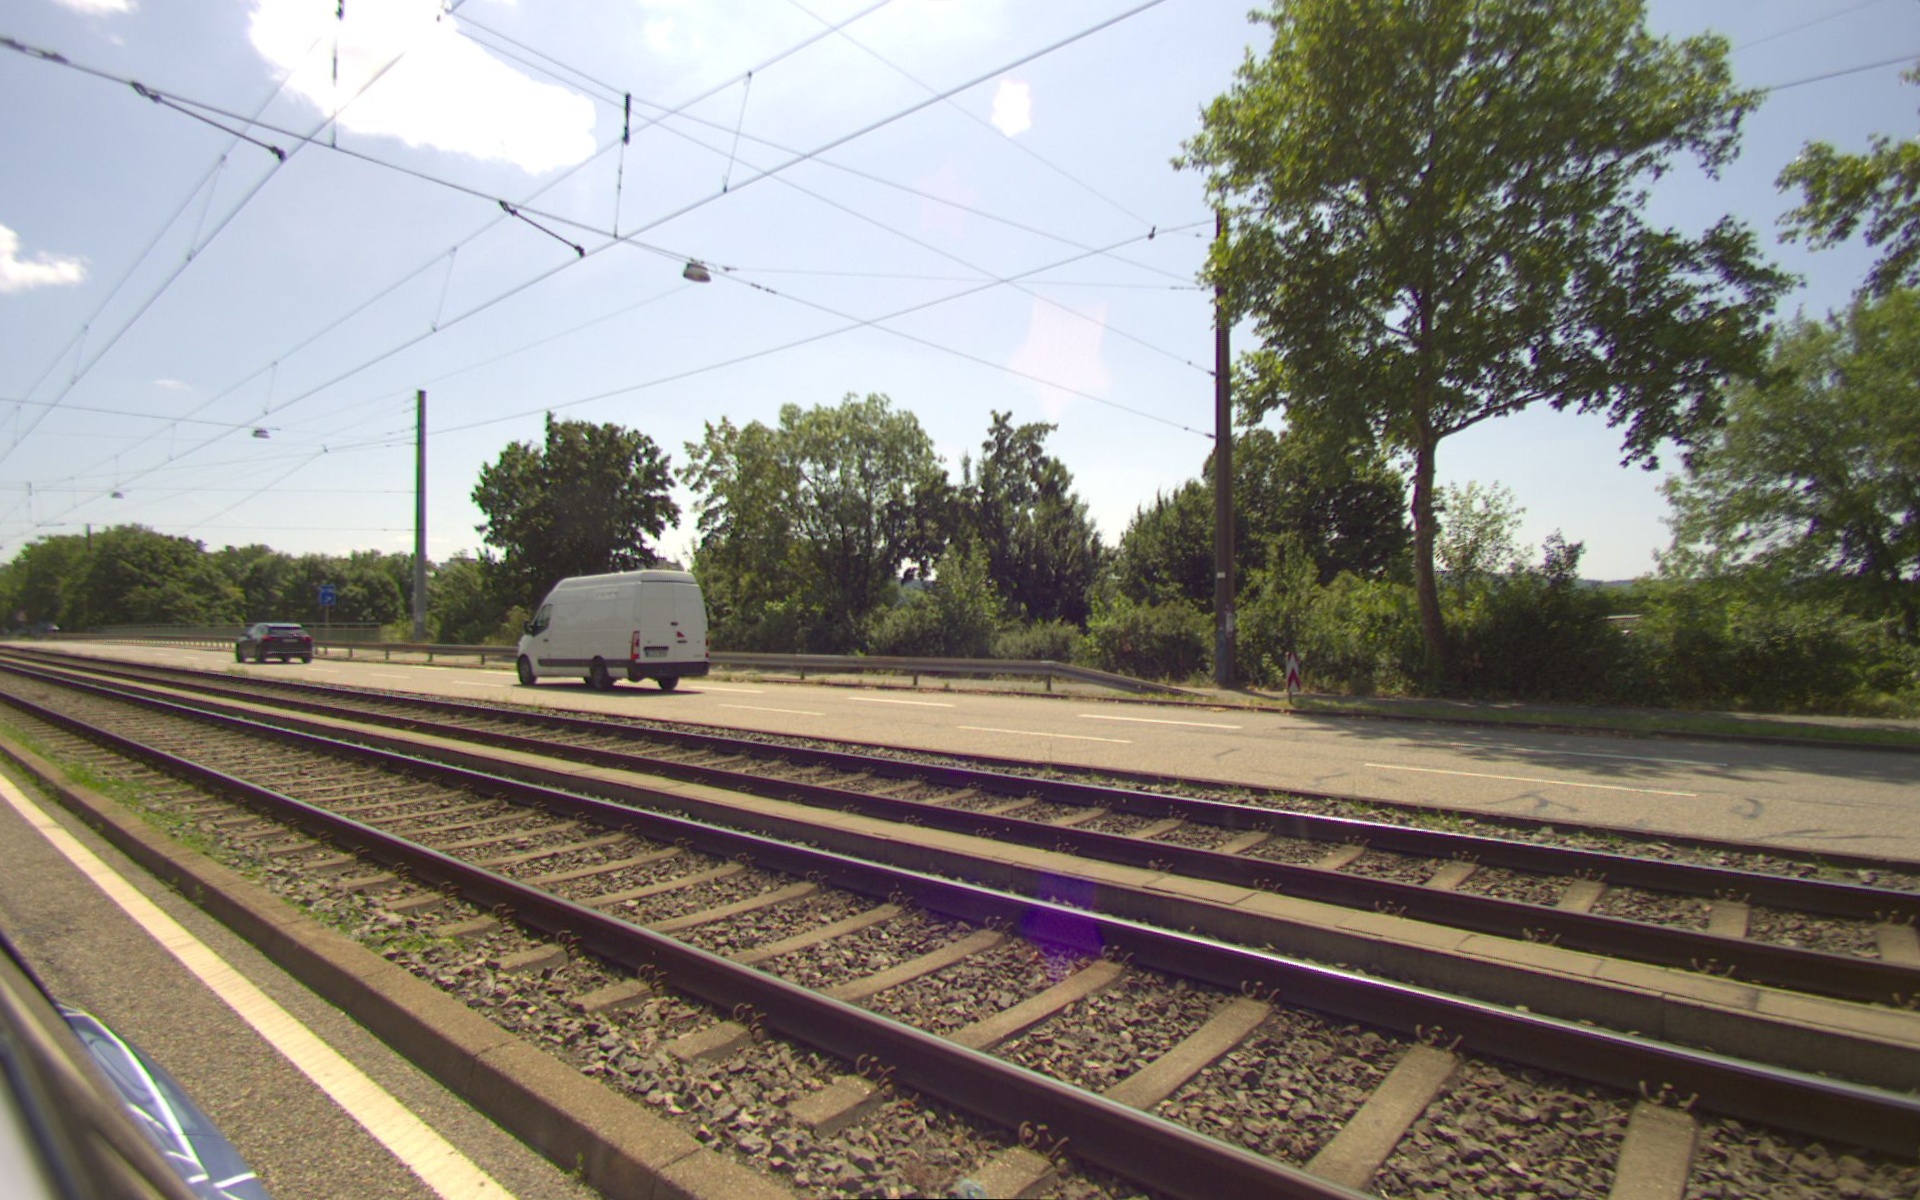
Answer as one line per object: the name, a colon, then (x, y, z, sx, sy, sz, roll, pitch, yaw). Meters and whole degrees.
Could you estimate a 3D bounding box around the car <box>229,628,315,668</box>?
car: (-27.752, 1.910, 40.799, 4.425, 1.526, 1.798, -1, -3, 41)

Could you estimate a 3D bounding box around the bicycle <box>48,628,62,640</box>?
bicycle: (-97.262, 3.657, 108.727, 2.061, 1.194, 0.848, -1, -1, 41)

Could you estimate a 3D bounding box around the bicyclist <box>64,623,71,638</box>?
bicyclist: (-88.854, 3.018, 100.754, 0.529, 1.509, 0.515, -2, -1, 40)

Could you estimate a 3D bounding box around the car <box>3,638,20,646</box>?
car: (-156.717, 6.908, 167.205, 3.927, 1.357, 1.546, -1, -3, 42)

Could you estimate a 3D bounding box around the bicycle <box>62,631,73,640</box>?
bicycle: (-88.841, 3.564, 100.746, 2.034, 0.849, 0.517, -2, -1, 40)

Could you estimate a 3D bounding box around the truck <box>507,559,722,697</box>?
truck: (-8.514, 0.682, 24.557, 6.316, 2.961, 2.032, -1, -3, 41)
